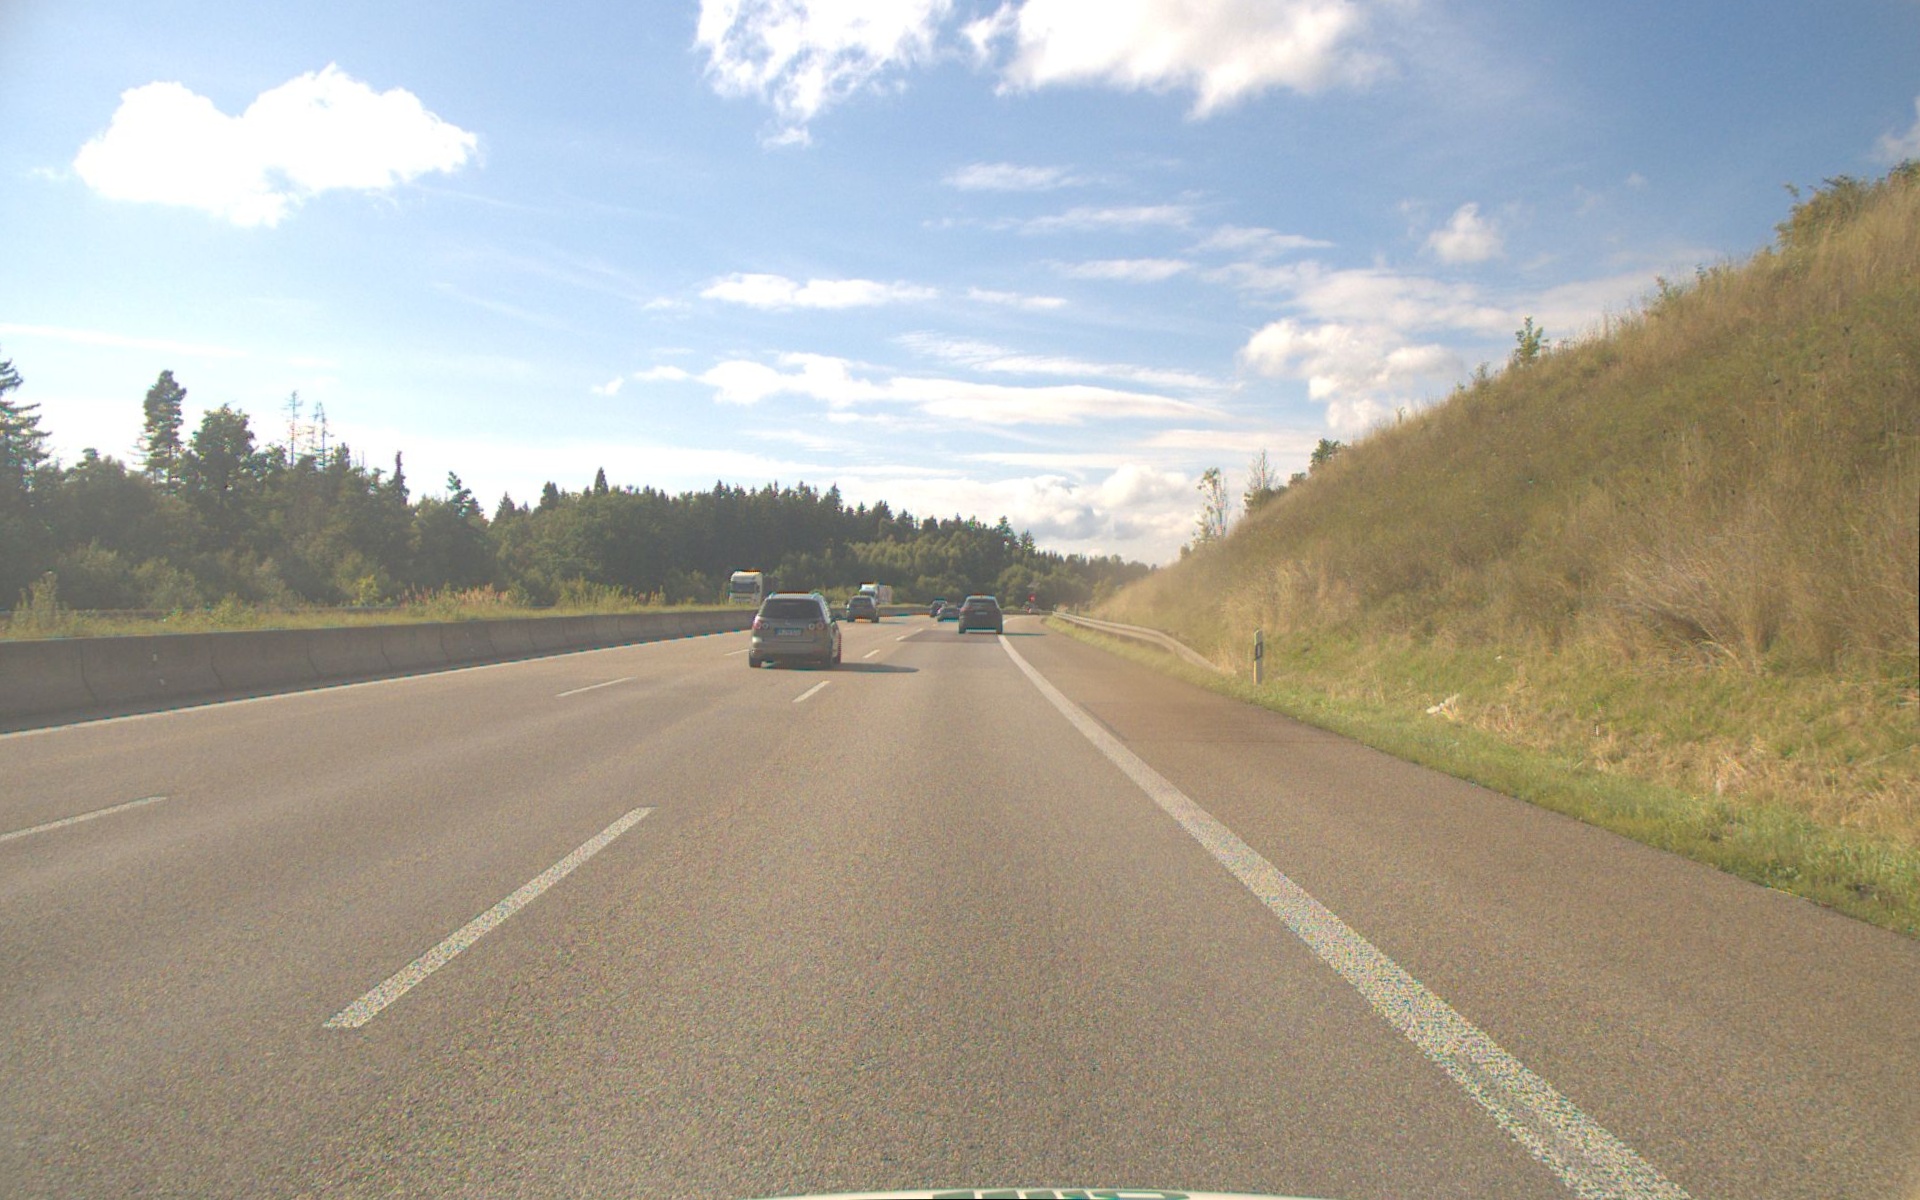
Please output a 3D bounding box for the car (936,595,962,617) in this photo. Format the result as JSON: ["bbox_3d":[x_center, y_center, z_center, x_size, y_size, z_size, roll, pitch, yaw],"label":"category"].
[{"bbox_3d":[-0.784,0.416,120.026,1.835,1.523,3.879,1,0,0],"label":"car"}]

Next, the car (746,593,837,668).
[{"bbox_3d":[-3.634,0.625,36.071,1.837,1.523,3.876,1,0,-5],"label":"car"}]

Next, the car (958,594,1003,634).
[{"bbox_3d":[0.881,0.606,72.855,1.836,1.704,3.889,1,0,-1],"label":"car"}]

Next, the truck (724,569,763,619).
[{"bbox_3d":[-19.992,-0.550,152.721,2.744,4.469,5.465,1,0,1],"label":"truck"}]

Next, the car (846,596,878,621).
[{"bbox_3d":[-6.224,0.547,105.317,1.836,1.523,3.879,1,0,-1],"label":"car"}]

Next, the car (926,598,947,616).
[{"bbox_3d":[-2.172,0.631,151.503,1.835,1.523,3.880,1,0,0],"label":"car"}]
